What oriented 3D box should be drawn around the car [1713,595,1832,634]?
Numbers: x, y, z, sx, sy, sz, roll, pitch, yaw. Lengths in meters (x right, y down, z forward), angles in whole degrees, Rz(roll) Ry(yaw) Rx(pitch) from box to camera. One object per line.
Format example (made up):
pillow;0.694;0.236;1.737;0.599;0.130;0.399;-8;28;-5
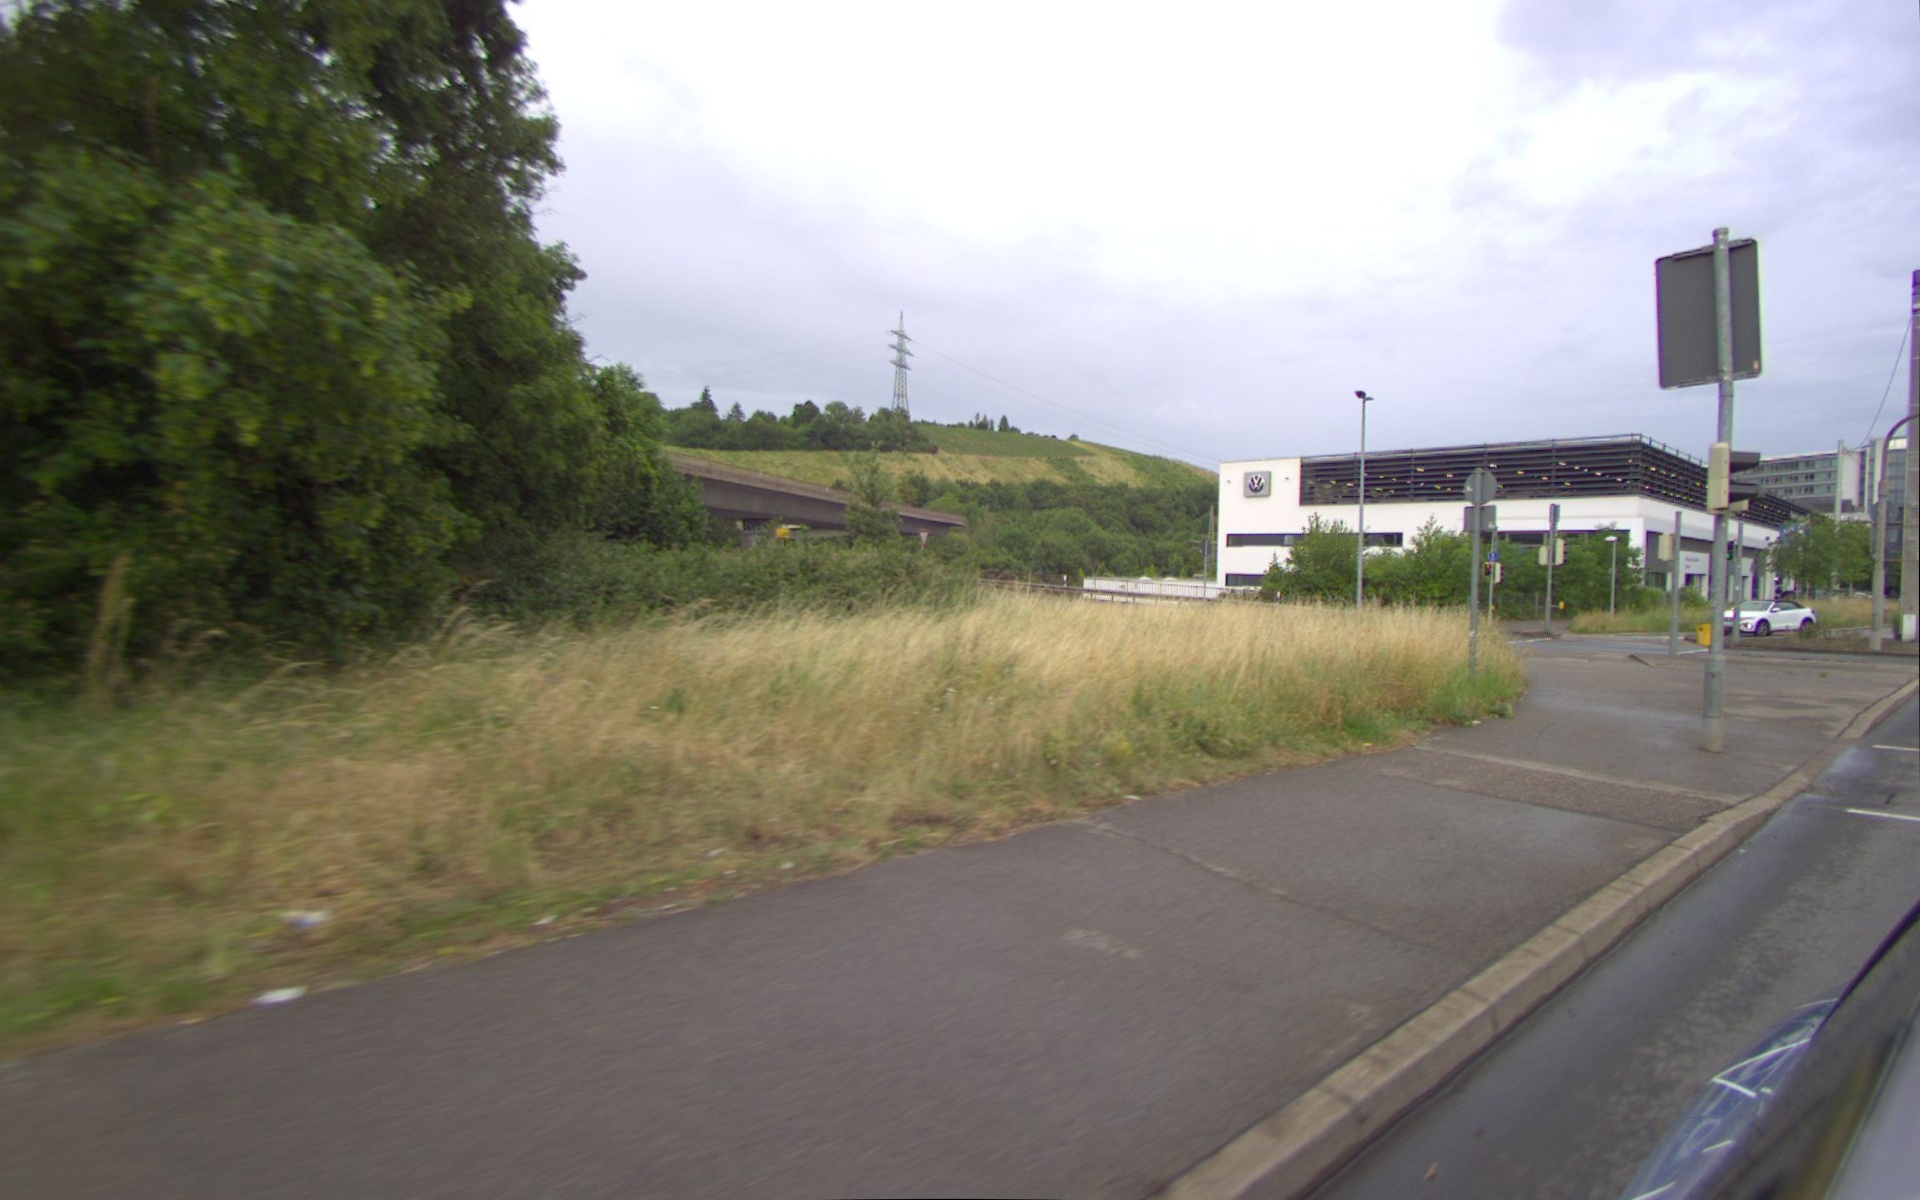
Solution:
car;34.444;0.574;42.947;4.023;1.559;2.046;0;1;-18
